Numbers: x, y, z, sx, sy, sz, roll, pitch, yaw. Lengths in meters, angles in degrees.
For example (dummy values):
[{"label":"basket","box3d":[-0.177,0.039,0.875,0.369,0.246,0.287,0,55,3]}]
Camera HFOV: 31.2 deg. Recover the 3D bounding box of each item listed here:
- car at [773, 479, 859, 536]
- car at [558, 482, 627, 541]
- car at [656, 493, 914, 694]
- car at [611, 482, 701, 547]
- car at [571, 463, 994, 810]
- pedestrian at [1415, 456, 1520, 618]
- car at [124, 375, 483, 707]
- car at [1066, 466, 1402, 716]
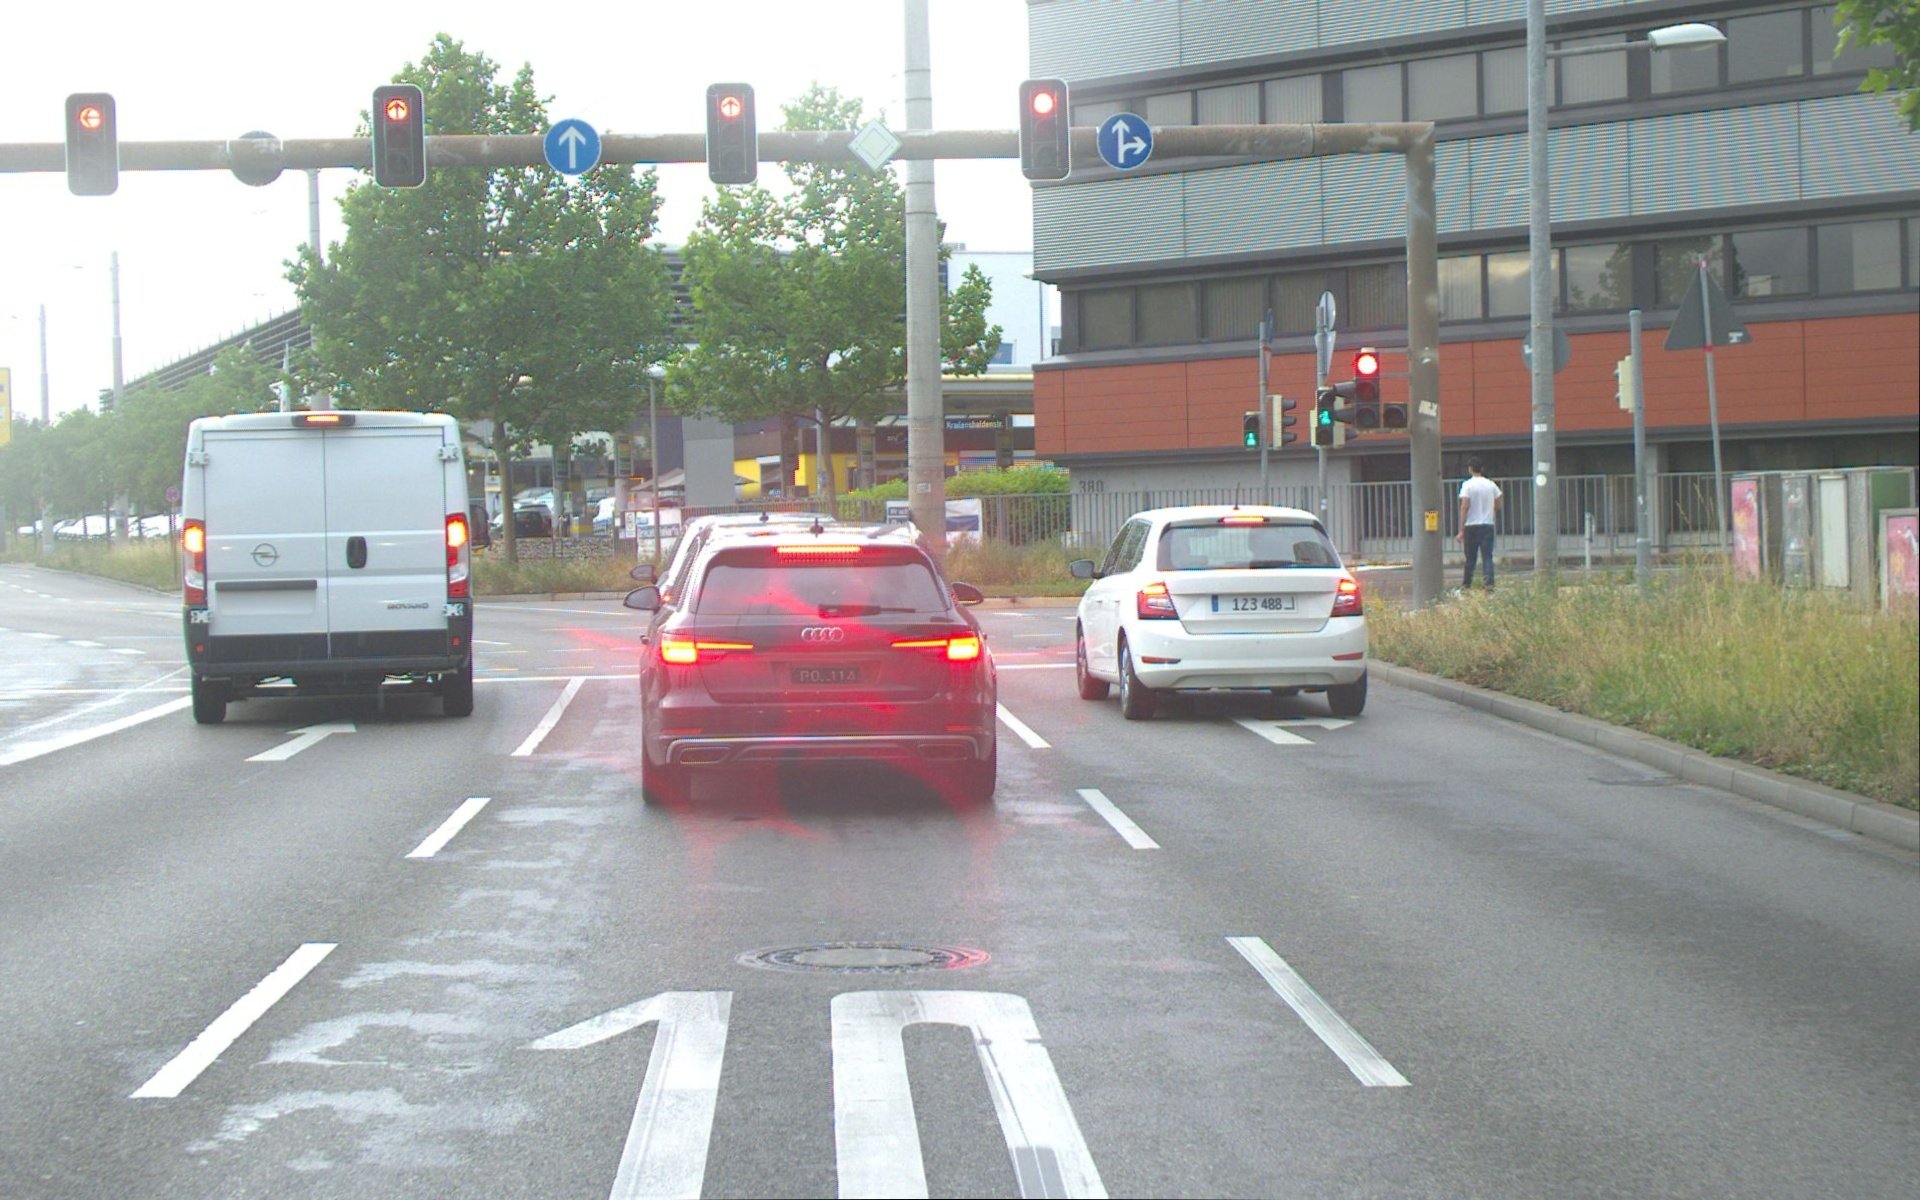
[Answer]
[{"label":"car","box3d":[-5.250,-3.343,124.839,1.869,2.007,3.775,1,0,-23]},{"label":"car","box3d":[-12.961,-3.109,121.207,1.678,2.007,3.543,1,0,-18]},{"label":"car","box3d":[-1.334,-0.068,27.452,1.894,1.460,3.909,-1,1,-1]},{"label":"car","box3d":[-9.973,-2.791,112.508,1.993,2.025,4.001,-2,2,-18]},{"label":"car","box3d":[-0.927,0.156,18.333,1.993,1.631,4.000,0,0,-2]},{"label":"pedestrian","box3d":[6.867,-0.864,46.586,1.143,2.118,1.222,-2,3,-3]},{"label":"car","box3d":[-4.957,-0.429,26.576,2.444,2.286,4.906,1,0,-8]},{"label":"car","box3d":[1.882,-0.079,24.773,1.828,1.650,4.001,0,0,-4]}]
